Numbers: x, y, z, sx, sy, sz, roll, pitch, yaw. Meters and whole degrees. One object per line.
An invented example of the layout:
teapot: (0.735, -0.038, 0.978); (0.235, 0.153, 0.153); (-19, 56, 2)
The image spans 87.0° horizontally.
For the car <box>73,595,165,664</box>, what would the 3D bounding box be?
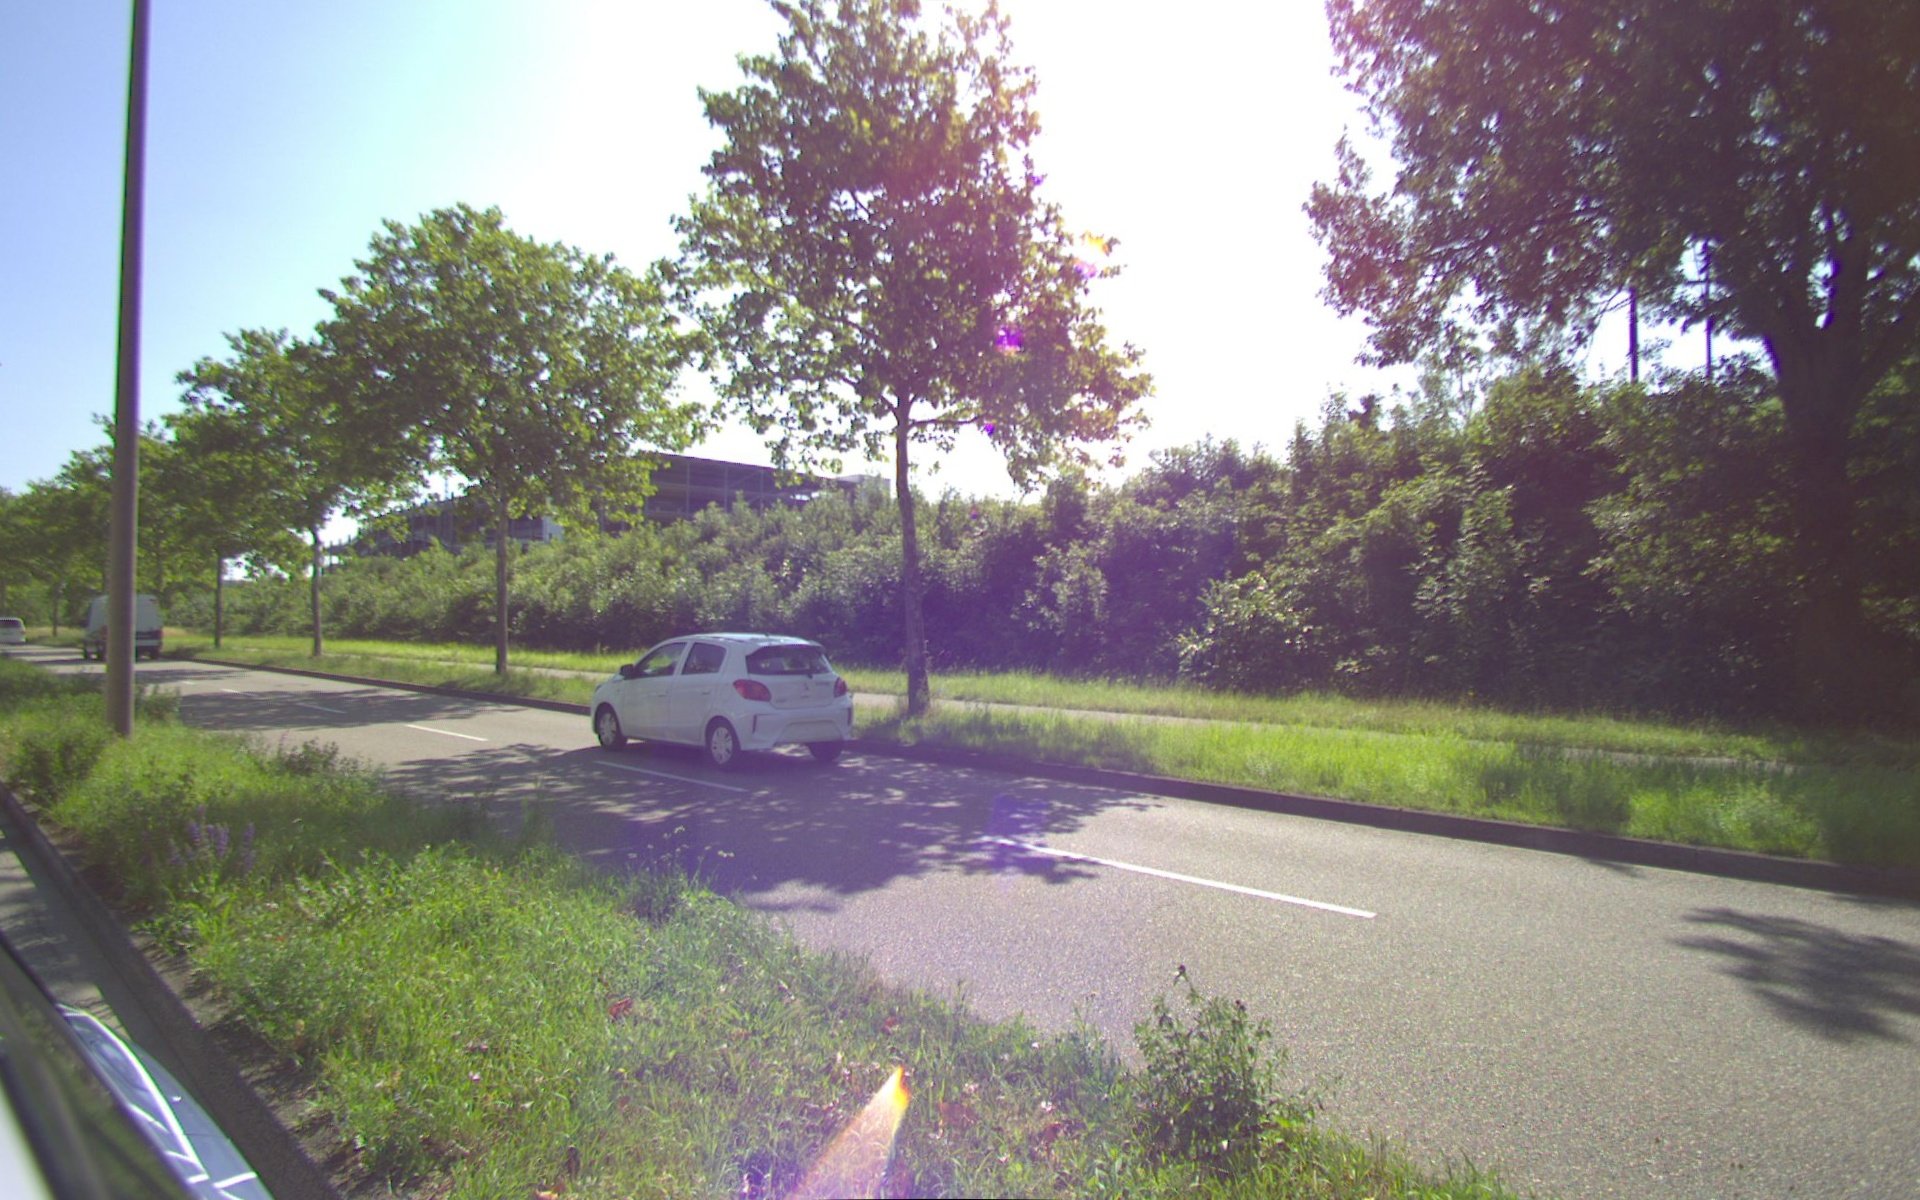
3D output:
car: (-34.861, 1.225, 41.881); (5.783, 2.683, 1.973); (-1, -3, 41)

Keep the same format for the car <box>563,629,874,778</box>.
car: (-3.035, 1.130, 12.295); (3.998, 1.519, 1.682); (-2, -3, 41)

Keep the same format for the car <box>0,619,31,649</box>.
car: (-65.191, 2.306, 69.012); (4.569, 1.912, 1.974); (-1, -4, 39)
